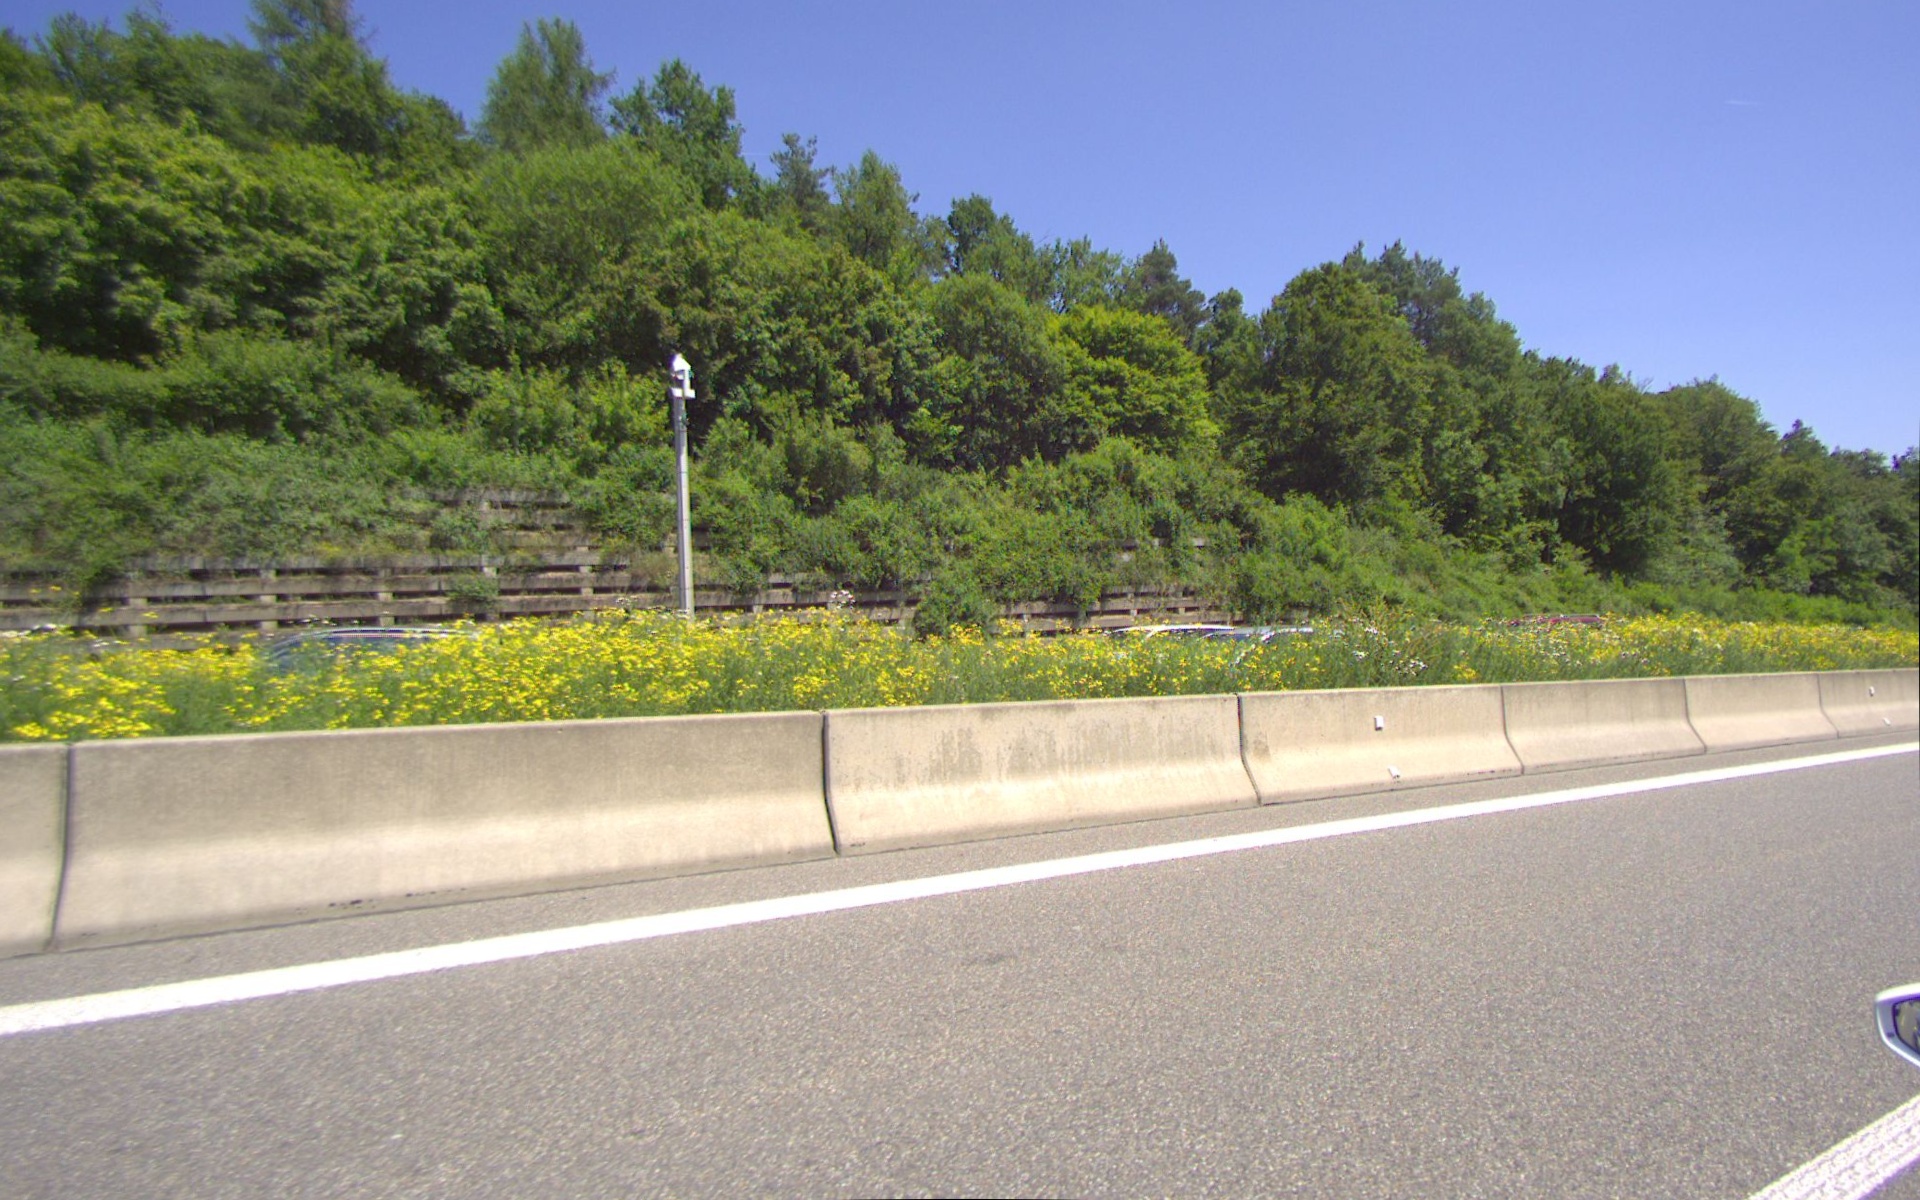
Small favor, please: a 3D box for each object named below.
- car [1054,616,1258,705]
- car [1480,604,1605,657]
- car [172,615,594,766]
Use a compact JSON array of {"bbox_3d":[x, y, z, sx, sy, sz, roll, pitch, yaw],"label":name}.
[{"bbox_3d":[4.529,1.355,23.060,4.446,1.831,1.802,2,0,-29],"label":"car"},{"bbox_3d":[22.056,1.148,38.006,4.598,1.831,1.985,2,0,-29],"label":"car"},{"bbox_3d":[-6.711,0.971,12.076,4.108,1.542,1.779,1,-2,-31],"label":"car"}]
